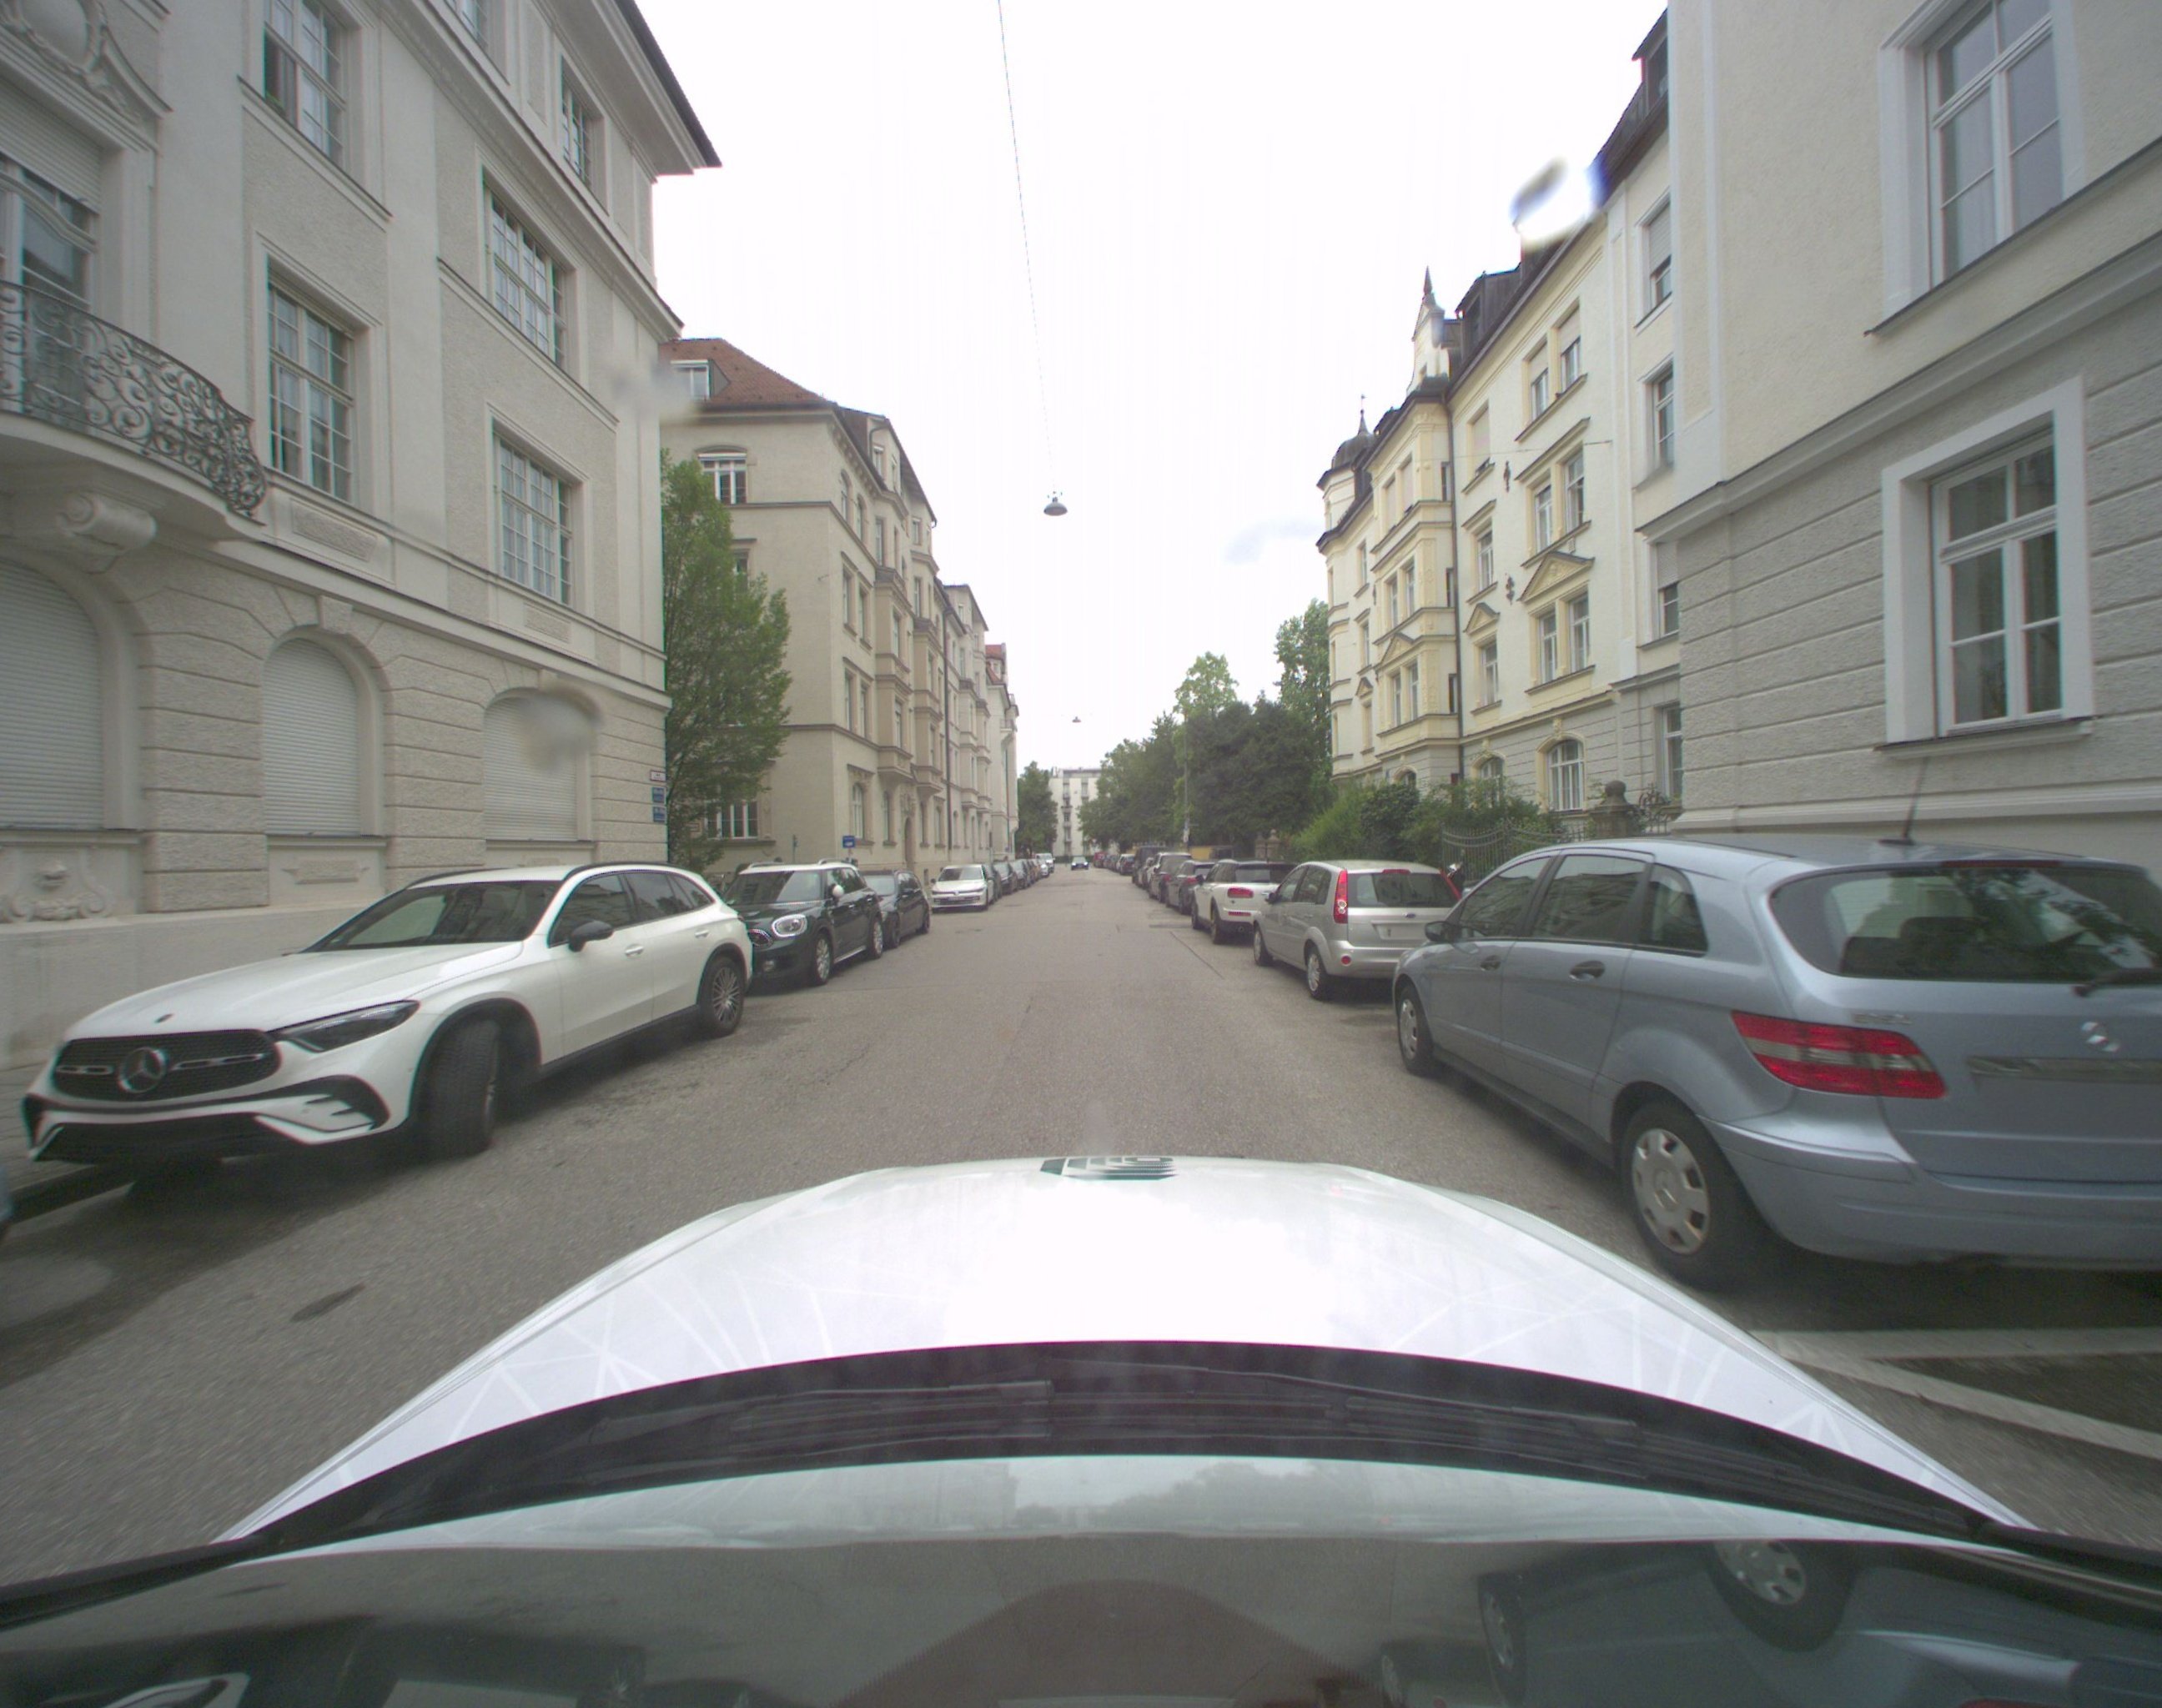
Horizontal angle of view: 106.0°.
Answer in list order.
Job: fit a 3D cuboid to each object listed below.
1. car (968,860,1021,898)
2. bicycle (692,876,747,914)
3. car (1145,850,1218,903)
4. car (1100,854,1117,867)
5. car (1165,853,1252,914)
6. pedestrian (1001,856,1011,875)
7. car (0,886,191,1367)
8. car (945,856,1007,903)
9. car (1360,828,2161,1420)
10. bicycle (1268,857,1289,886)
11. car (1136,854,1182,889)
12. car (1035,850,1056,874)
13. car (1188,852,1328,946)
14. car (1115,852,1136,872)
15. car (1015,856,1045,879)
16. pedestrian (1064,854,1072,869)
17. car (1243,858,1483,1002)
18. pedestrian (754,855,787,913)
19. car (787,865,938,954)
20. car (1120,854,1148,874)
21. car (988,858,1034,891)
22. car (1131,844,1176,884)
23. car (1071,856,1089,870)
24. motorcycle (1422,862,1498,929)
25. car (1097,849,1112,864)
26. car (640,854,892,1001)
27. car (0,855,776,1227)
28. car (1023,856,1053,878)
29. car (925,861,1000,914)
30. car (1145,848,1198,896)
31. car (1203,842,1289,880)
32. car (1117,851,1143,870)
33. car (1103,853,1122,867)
[{"bbox_3d":[-3.783,1.044,36.431,1.828,1.434,4.552,-3,0,0],"label":"car"},{"bbox_3d":[-11.089,1.229,25.047,0.691,0.960,2.011,1,3,3],"label":"bicycle"},{"bbox_3d":[3.304,0.700,27.460,1.746,1.610,4.420,0,1,-3],"label":"car"},{"bbox_3d":[3.315,0.772,98.859,1.834,1.519,3.943,0,-1,-3],"label":"car"},{"bbox_3d":[3.397,0.744,22.365,1.679,1.504,4.015,-1,0,-2],"label":"car"},{"bbox_3d":[-6.821,1.041,74.092,0.792,1.679,0.698,-2,0,-9],"label":"pedestrian"},{"bbox_3d":[-4.376,0.945,1.057,1.778,1.541,4.253,-4,0,-3],"label":"car"},{"bbox_3d":[-3.986,0.941,31.559,1.765,1.518,4.383,-4,0,-1],"label":"car"},{"bbox_3d":[3.068,0.714,4.377,1.815,1.569,4.404,1,0,3],"label":"car"},{"bbox_3d":[7.617,0.653,31.397,0.453,1.098,1.313,-2,0,-1],"label":"bicycle"},{"bbox_3d":[3.511,0.774,37.246,1.718,1.519,3.629,1,0,-1],"label":"car"},{"bbox_3d":[-3.488,0.774,81.112,1.881,2.127,4.704,-4,0,-1],"label":"car"},{"bbox_3d":[3.114,0.722,15.135,1.778,1.504,4.065,-1,0,1],"label":"car"},{"bbox_3d":[3.837,0.661,70.152,1.509,1.661,3.671,0,-1,-2],"label":"car"},{"bbox_3d":[-3.584,0.950,57.706,1.719,1.499,3.931,-3,0,1],"label":"car"},{"bbox_3d":[-1.906,1.098,119.551,0.843,2.285,0.838,-1,0,-16],"label":"pedestrian"},{"bbox_3d":[3.142,0.762,9.825,1.748,1.406,3.452,-1,0,1],"label":"car"},{"bbox_3d":[-8.956,0.857,23.517,0.671,1.626,0.630,-2,0,-2],"label":"pedestrian"},{"bbox_3d":[-4.183,0.985,16.326,1.781,1.412,4.367,-1,0,0],"label":"car"},{"bbox_3d":[3.898,0.746,60.366,1.832,1.413,4.343,0,-1,1],"label":"car"},{"bbox_3d":[-3.526,1.006,41.726,1.830,1.435,4.246,-4,0,1],"label":"car"},{"bbox_3d":[3.689,0.477,42.319,1.944,1.954,4.666,0,1,0],"label":"car"},{"bbox_3d":[-0.129,0.944,89.098,1.869,1.428,4.406,-2,0,-2],"label":"car"},{"bbox_3d":[6.976,0.728,15.087,0.604,1.112,1.966,-2,0,4],"label":"motorcycle"},{"bbox_3d":[3.189,0.366,110.772,1.829,1.927,4.008,1,0,3],"label":"car"},{"bbox_3d":[-4.107,0.847,11.482,1.830,1.618,4.244,-1,0,0],"label":"car"},{"bbox_3d":[-4.140,0.859,6.003,1.908,1.618,4.573,-1,0,1],"label":"car"},{"bbox_3d":[-3.262,0.960,62.600,1.830,1.438,4.276,-4,0,1],"label":"car"},{"bbox_3d":[-3.825,1.047,26.912,1.831,1.434,4.243,-3,0,-1],"label":"car"},{"bbox_3d":[3.553,0.689,32.540,1.716,1.769,4.414,1,0,1],"label":"car"},{"bbox_3d":[9.527,0.393,47.146,4.523,1.950,1.900,-2,2,-6],"label":"car"},{"bbox_3d":[3.916,0.530,65.425,1.649,1.519,3.791,0,-1,-3],"label":"car"},{"bbox_3d":[3.658,0.706,94.680,1.834,1.519,3.943,0,-1,-3],"label":"car"}]
